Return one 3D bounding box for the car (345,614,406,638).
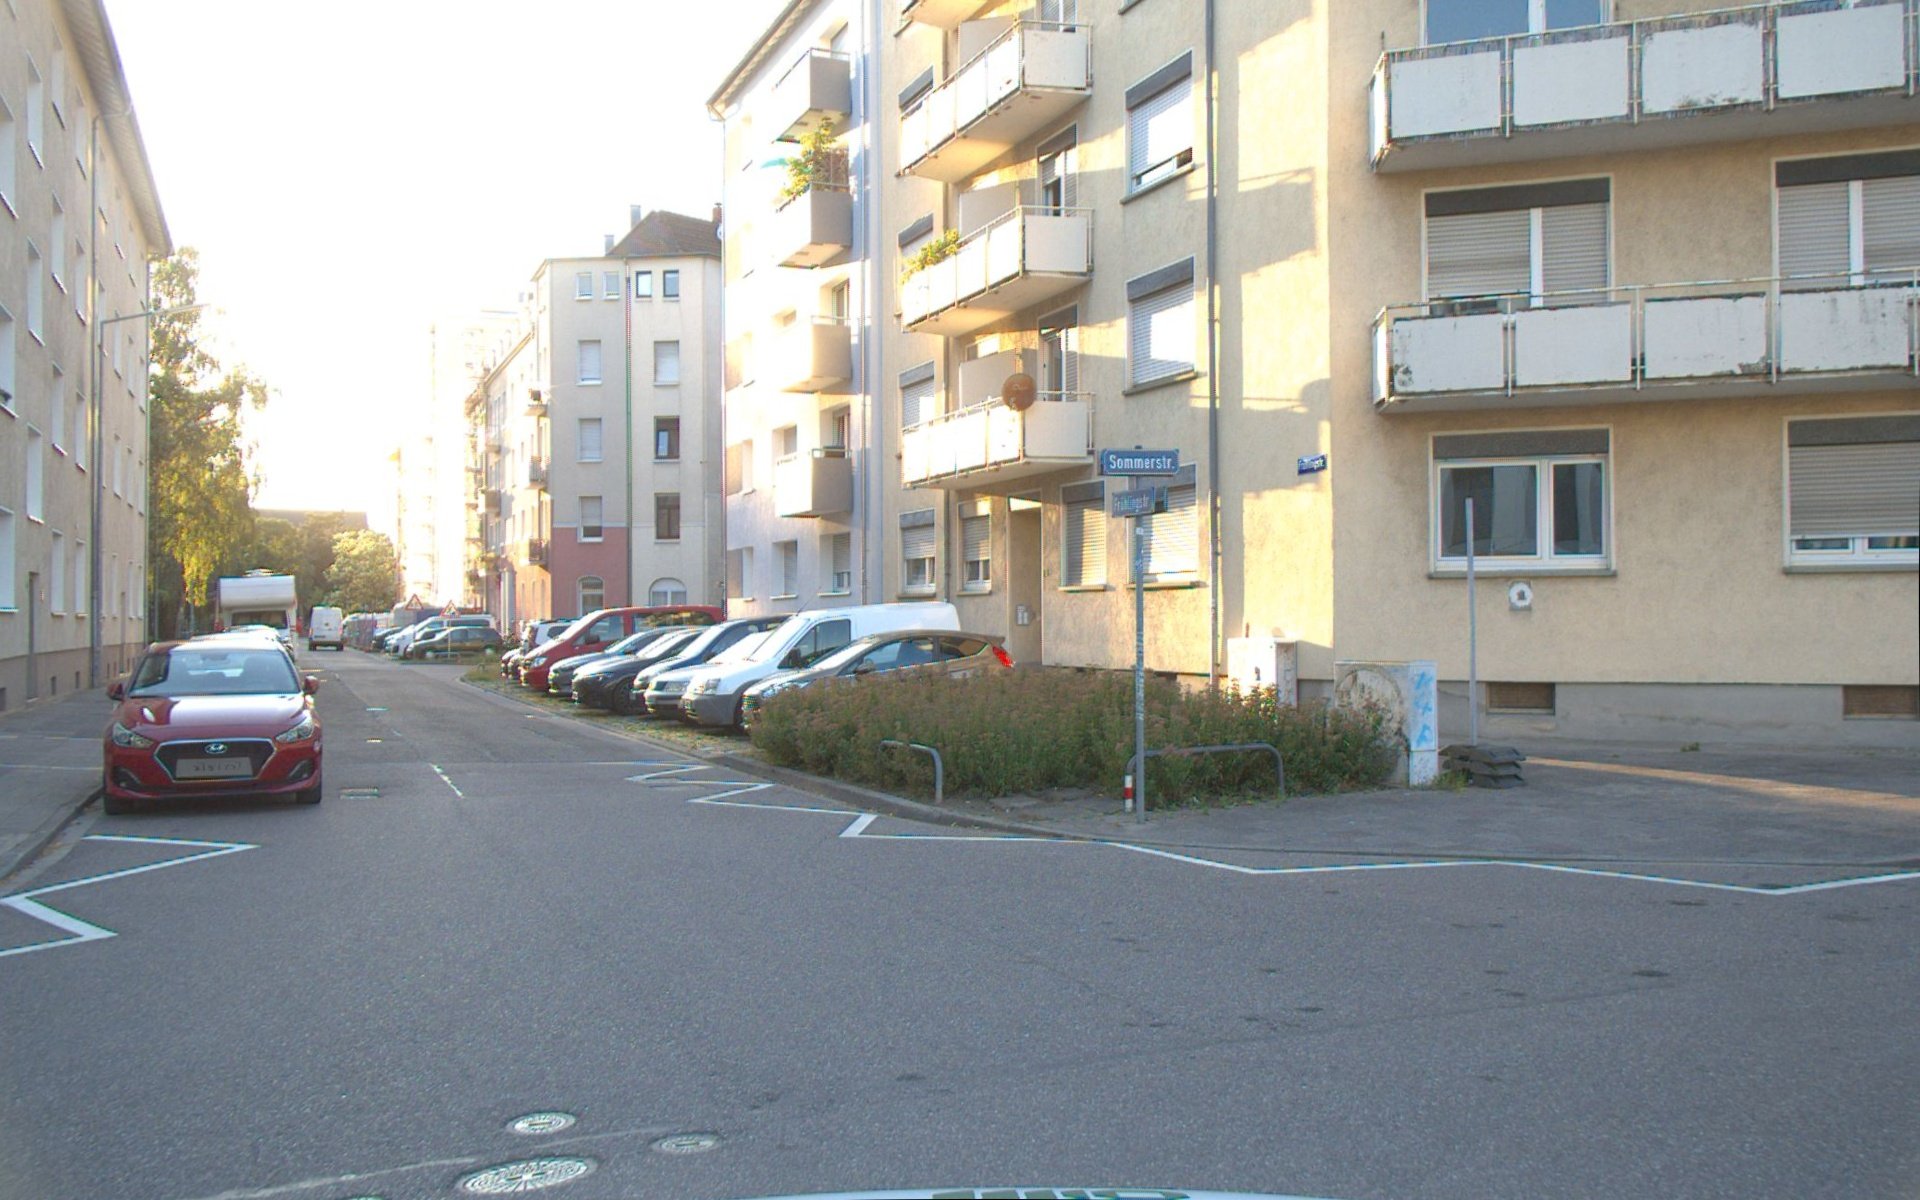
[{"bbox_3d":[-41.039,1.838,116.081,3.934,1.557,1.646,-2,0,-24],"label":"car"}]

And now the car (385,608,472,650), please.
[{"bbox_3d":[-26.821,1.454,83.400,3.940,2.049,1.982,0,-1,-27],"label":"car"}]

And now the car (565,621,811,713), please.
[{"bbox_3d":[-5.061,1.216,30.837,4.251,1.475,1.643,-2,-1,-23],"label":"car"}]

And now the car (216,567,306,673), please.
[{"bbox_3d":[-24.016,0.697,57.017,2.584,3.326,7.643,-2,0,-22],"label":"car"}]

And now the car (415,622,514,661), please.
[{"bbox_3d":[-21.409,1.774,71.511,3.934,1.557,1.646,-2,0,-24],"label":"car"}]

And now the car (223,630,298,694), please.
[{"bbox_3d":[-17.474,1.500,41.247,1.631,1.460,3.846,-2,0,-24],"label":"car"}]

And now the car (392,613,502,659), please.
[{"bbox_3d":[-24.199,1.681,78.050,4.750,2.002,1.726,-2,0,-24],"label":"car"}]

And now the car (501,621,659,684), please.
[{"bbox_3d":[-9.918,1.347,43.138,3.762,1.453,1.622,-2,-1,-24],"label":"car"}]

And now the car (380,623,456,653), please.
[{"bbox_3d":[-30.589,2.135,93.348,3.934,1.557,1.646,-2,0,-24],"label":"car"}]

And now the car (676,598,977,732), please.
[{"bbox_3d":[-2.017,0.942,25.013,4.221,1.893,1.729,0,-2,-23],"label":"car"}]

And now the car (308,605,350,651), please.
[{"bbox_3d":[-39.574,1.739,103.639,2.101,2.765,4.796,-2,0,-24],"label":"car"}]

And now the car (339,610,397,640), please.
[{"bbox_3d":[-52.829,2.222,147.599,4.750,2.450,1.726,-2,0,-24],"label":"car"}]

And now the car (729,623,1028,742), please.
[{"bbox_3d":[-1.141,1.096,23.015,3.820,1.518,1.729,0,-1,-23],"label":"car"}]

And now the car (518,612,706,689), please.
[{"bbox_3d":[-8.622,1.224,40.953,4.267,1.666,1.804,-2,-1,-24],"label":"car"}]

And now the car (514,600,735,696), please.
[{"bbox_3d":[-7.755,1.080,38.223,4.660,1.943,2.044,-2,-1,-24],"label":"car"}]

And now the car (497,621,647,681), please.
[{"bbox_3d":[-10.689,1.377,45.531,3.762,1.453,1.622,-2,-1,-24],"label":"car"}]

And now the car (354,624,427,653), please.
[{"bbox_3d":[-33.376,2.223,96.964,3.934,1.557,1.646,-2,0,-24],"label":"car"}]

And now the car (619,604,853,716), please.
[{"bbox_3d":[-3.938,1.021,29.038,3.740,1.725,1.643,-2,-1,-23],"label":"car"}]

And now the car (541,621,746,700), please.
[{"bbox_3d":[-6.857,1.284,35.837,4.091,1.497,1.624,-2,-1,-24],"label":"car"}]

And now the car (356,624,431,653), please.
[{"bbox_3d":[-32.596,2.193,95.197,3.934,1.557,1.646,-2,0,-24],"label":"car"}]

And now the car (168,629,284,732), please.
[{"bbox_3d":[-11.984,1.257,27.018,1.595,1.499,3.478,-2,0,-24],"label":"car"}]

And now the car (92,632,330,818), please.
[{"bbox_3d":[-7.086,1.065,15.740,1.821,1.499,4.047,0,-1,-24],"label":"car"}]

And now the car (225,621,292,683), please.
[{"bbox_3d":[-19.643,1.427,46.247,1.631,1.592,3.846,-2,0,-24],"label":"car"}]

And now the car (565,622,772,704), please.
[{"bbox_3d":[-5.902,1.254,33.491,3.826,1.441,1.623,-2,-1,-25],"label":"car"}]

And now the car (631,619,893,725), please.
[{"bbox_3d":[-3.204,1.117,26.728,3.902,1.549,1.694,-1,-1,-23],"label":"car"}]
